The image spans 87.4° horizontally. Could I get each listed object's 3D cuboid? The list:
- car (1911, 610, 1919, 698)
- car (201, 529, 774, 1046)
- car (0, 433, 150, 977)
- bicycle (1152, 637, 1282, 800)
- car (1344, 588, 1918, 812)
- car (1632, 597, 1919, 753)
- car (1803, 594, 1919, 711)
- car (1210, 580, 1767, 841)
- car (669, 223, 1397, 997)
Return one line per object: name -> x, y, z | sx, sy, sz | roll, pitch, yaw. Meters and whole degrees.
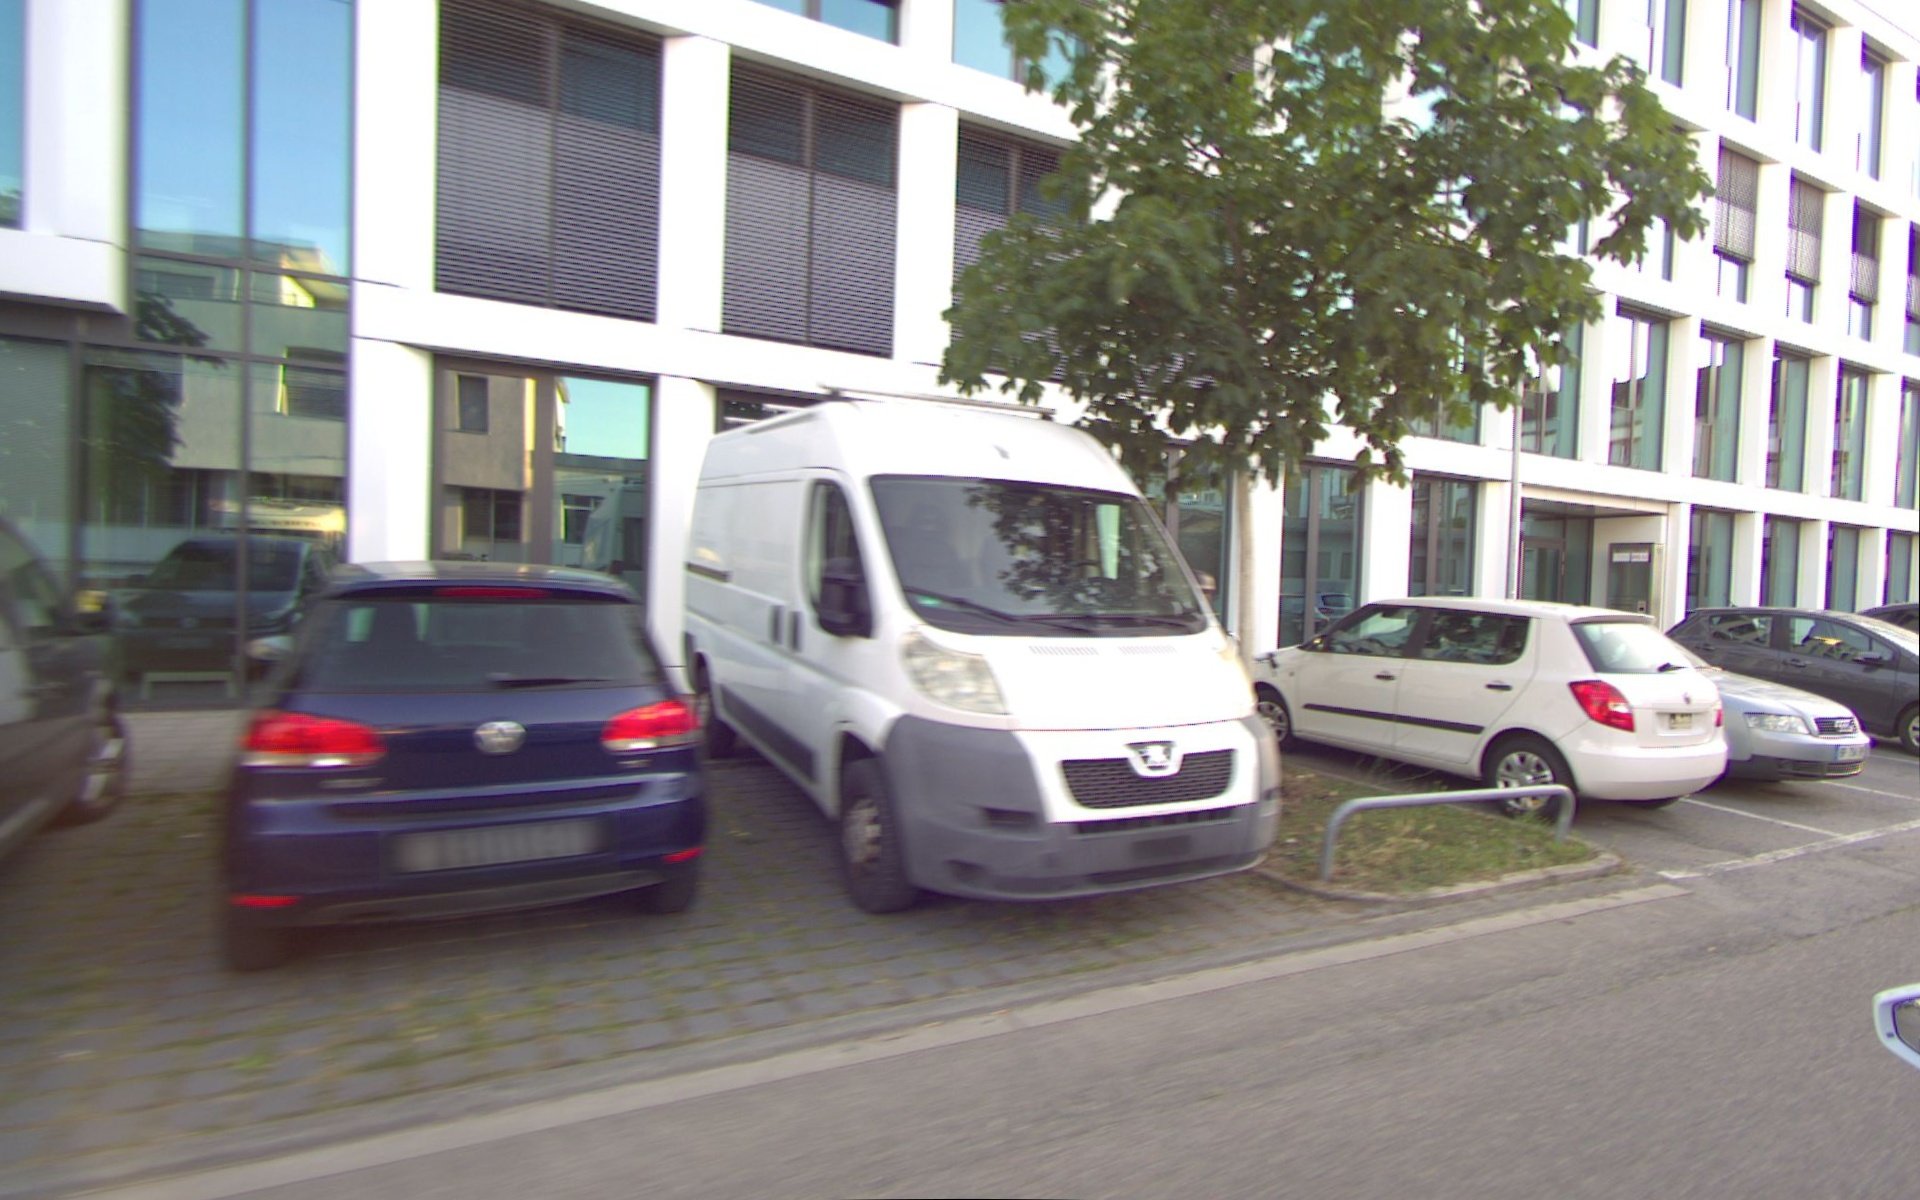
car -> 18.106, 1.030, 16.167 | 1.673, 1.532, 3.655 | 1, 2, -24
car -> -2.545, 0.467, 5.138 | 1.755, 1.520, 4.085 | 1, 2, -32
car -> -4.584, 0.298, 3.856 | 1.796, 1.841, 4.085 | 1, 2, -32
bicycle -> 2.011, 0.826, 7.665 | 0.661, 0.928, 1.911 | 2, 3, 23
car -> 6.082, 0.734, 9.764 | 1.771, 1.516, 4.292 | 1, 2, -26
car -> 10.505, 0.825, 11.976 | 1.673, 1.543, 3.763 | 1, 2, -30
car -> 15.785, 0.878, 14.881 | 1.977, 1.729, 4.605 | 1, 2, -24
car -> 3.986, 0.663, 8.232 | 1.686, 1.516, 3.692 | 1, 2, -28
car -> -0.253, -0.052, 6.326 | 2.051, 2.668, 5.360 | 1, 2, -27
